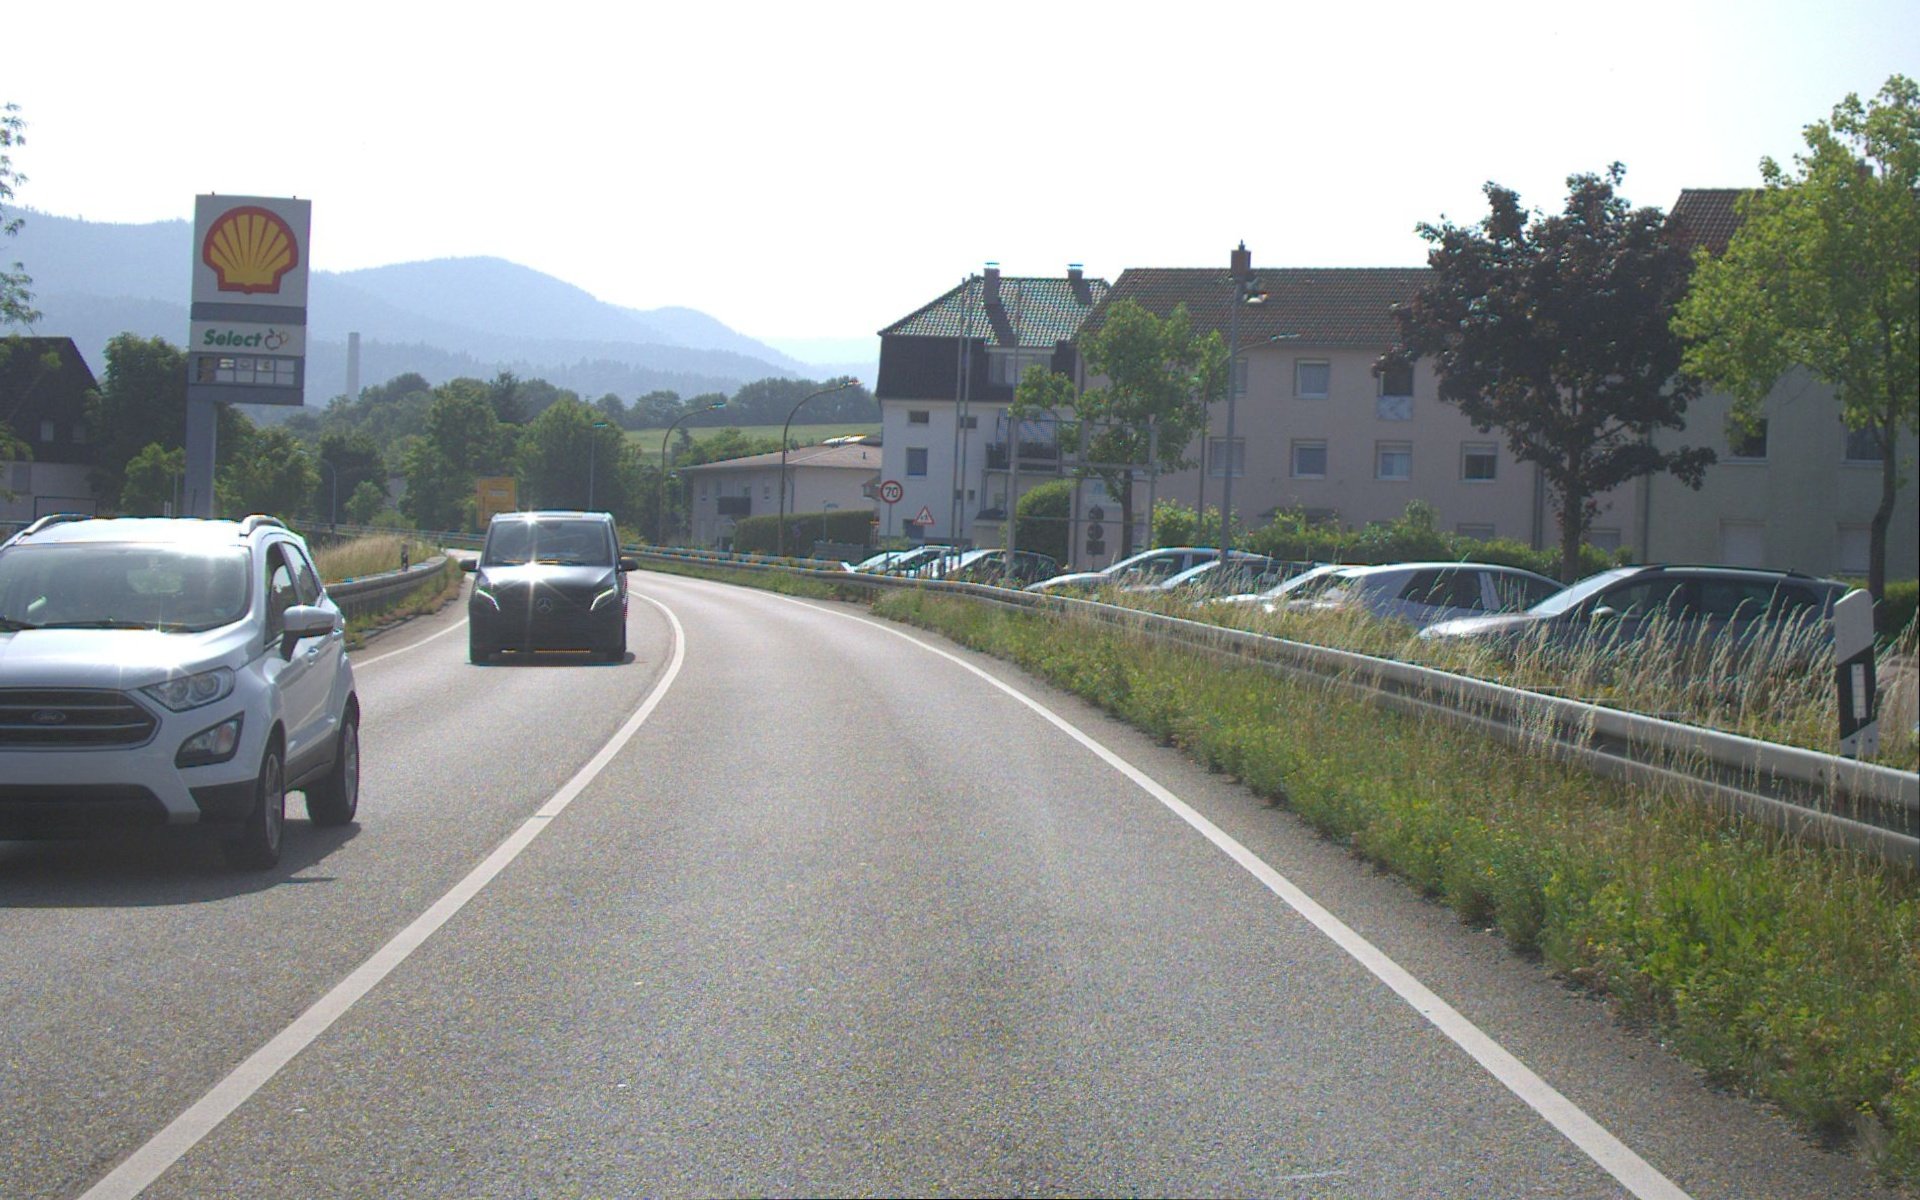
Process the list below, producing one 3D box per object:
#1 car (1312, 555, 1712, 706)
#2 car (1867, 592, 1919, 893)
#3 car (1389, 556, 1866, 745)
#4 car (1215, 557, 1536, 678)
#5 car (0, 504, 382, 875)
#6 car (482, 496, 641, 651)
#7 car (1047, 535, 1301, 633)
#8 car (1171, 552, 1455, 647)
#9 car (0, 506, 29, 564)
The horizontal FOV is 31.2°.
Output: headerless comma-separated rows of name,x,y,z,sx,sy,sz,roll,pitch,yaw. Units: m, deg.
car,6.061,0.324,37.977,3.986,1.574,1.779,1,0,-7
car,7.011,0.728,17.793,4.159,1.540,1.741,0,1,-1
car,6.144,0.451,31.944,3.986,1.634,1.888,1,0,-3
car,5.508,0.225,45.829,3.986,1.516,1.698,1,0,-3
car,-4.041,0.355,17.152,1.792,1.624,4.227,0,1,-3
car,-5.134,-0.362,44.074,1.914,1.879,4.912,0,1,-7
car,3.803,-0.291,61.612,4.318,1.634,2.140,1,0,-3
car,5.700,-0.020,55.791,4.319,1.439,1.629,1,0,-5
car,-34.977,-2.327,120.703,4.902,2.007,1.995,2,2,41
